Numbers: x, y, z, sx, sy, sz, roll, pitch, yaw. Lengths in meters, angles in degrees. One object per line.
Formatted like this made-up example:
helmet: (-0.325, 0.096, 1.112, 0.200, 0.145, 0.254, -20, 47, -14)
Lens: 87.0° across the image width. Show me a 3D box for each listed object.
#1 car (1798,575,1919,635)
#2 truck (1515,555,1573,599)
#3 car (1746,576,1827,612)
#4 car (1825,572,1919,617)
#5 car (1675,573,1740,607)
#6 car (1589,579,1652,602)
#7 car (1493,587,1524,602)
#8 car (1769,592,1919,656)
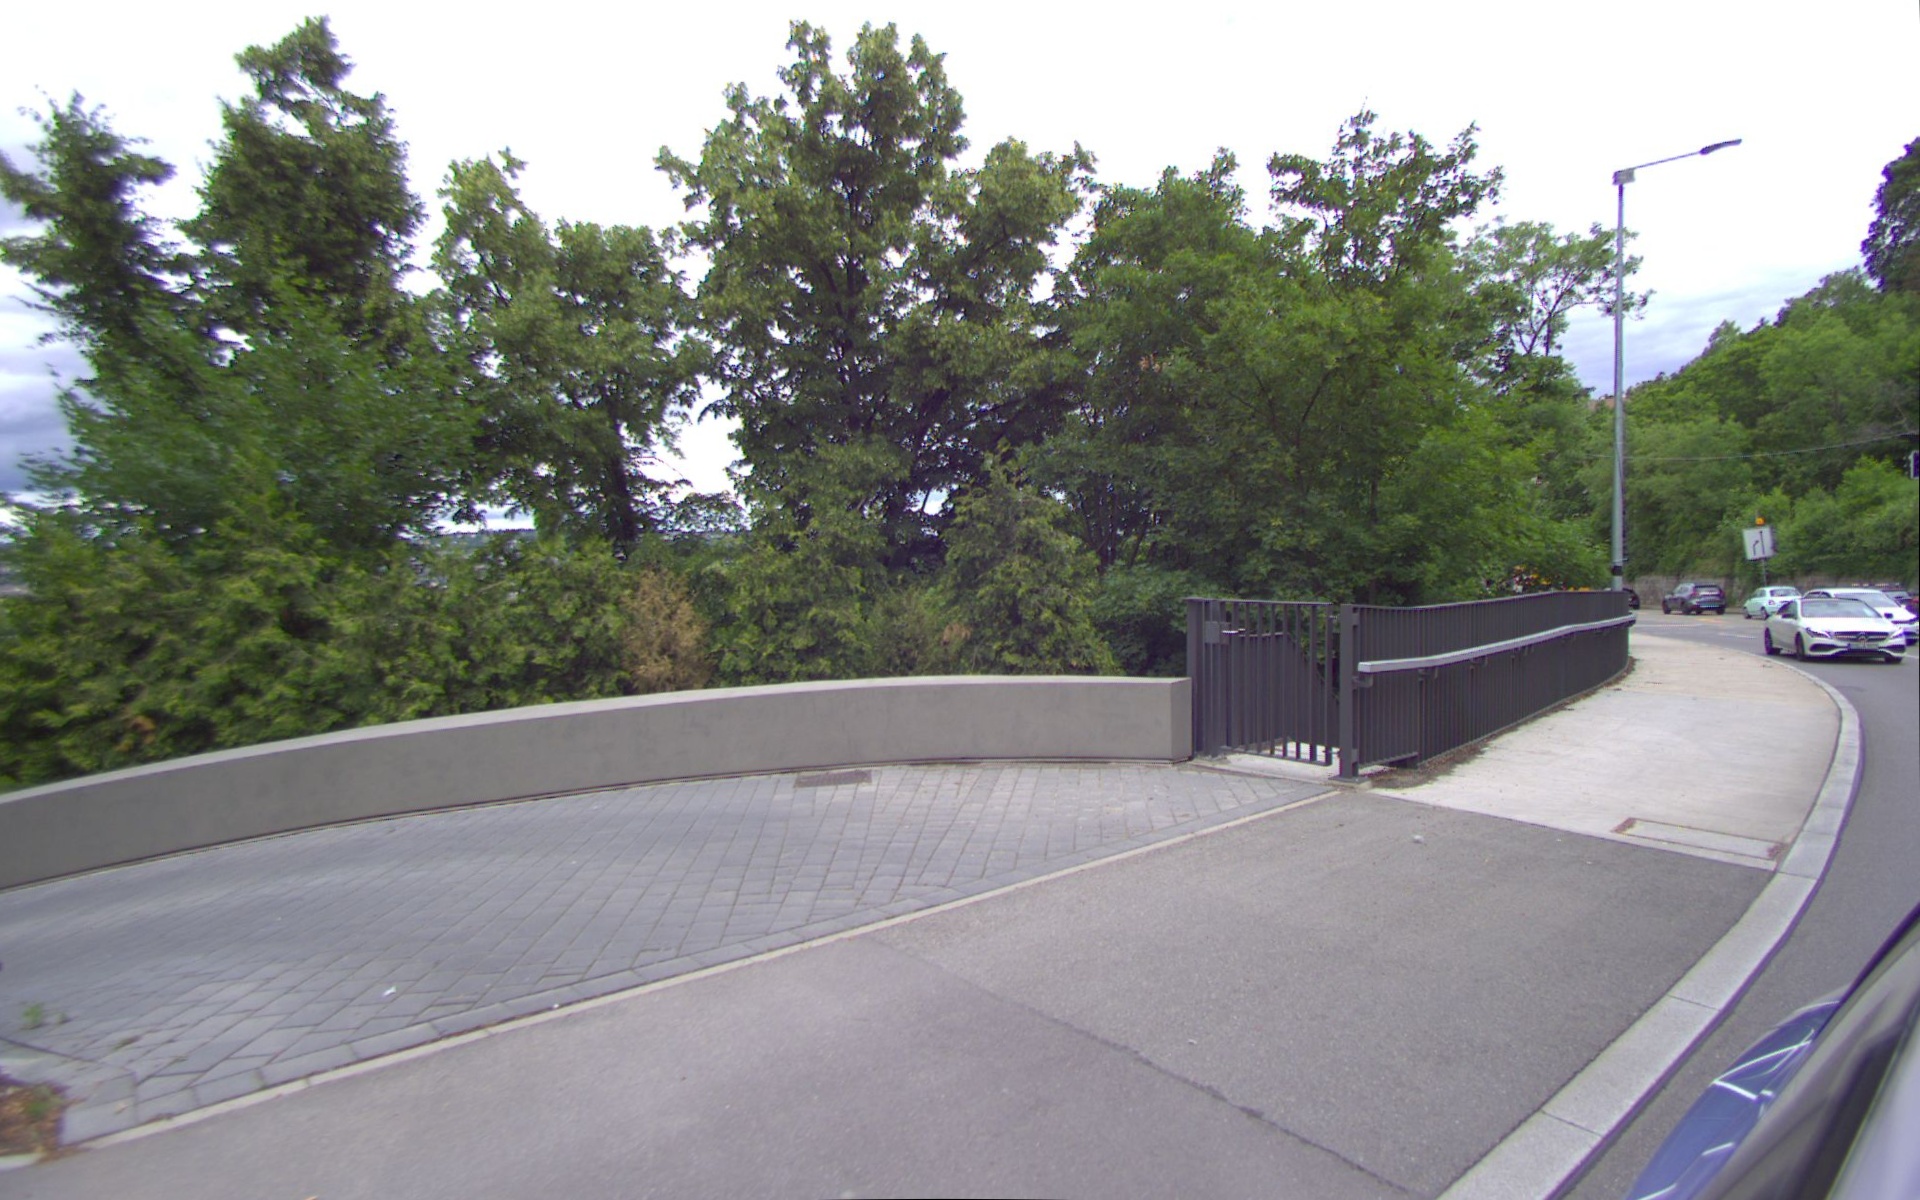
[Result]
car: (26.711, 0.109, 30.163, 1.870, 1.598, 3.960, -3, 0, 29)
truck: (50.465, -1.967, 87.635, 2.703, 3.554, 7.310, -1, 1, 17)
car: (37.492, -0.267, 46.019, 1.695, 1.485, 3.636, -2, 0, 20)
car: (35.410, -0.242, 38.854, 1.692, 1.617, 4.187, -2, 1, 16)
car: (40.558, -0.529, 55.045, 1.869, 1.718, 4.632, -2, 0, 25)
car: (44.208, -0.625, 67.891, 1.787, 1.448, 4.859, -2, 0, 11)
car: (55.688, -0.564, 102.878, 1.752, 1.460, 4.721, -3, 0, 17)
car: (20.351, 0.490, 23.351, 1.781, 1.323, 4.063, 0, 0, 27)
